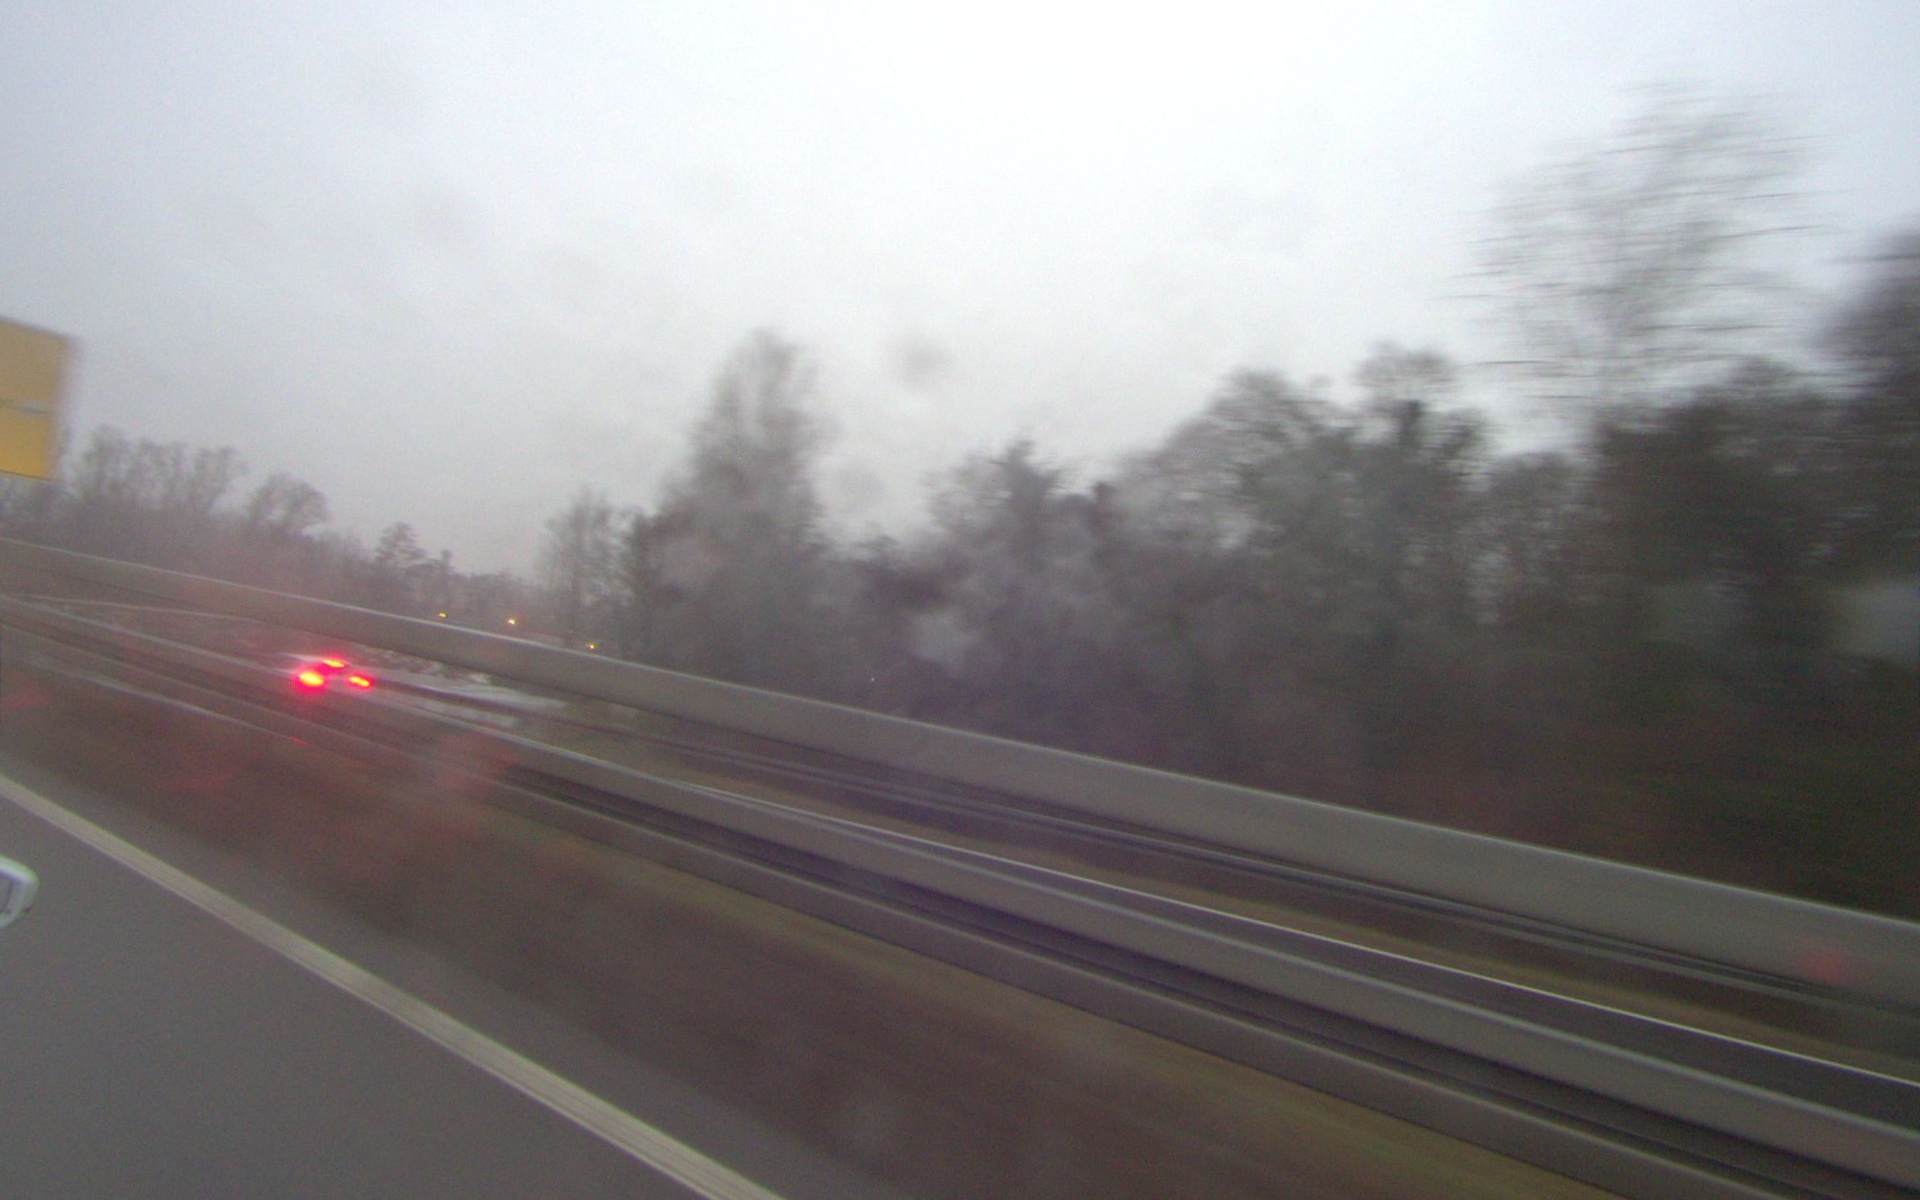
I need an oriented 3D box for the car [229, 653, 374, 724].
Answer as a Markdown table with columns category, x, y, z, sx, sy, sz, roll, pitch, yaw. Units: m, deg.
| category | x | y | z | sx | sy | sz | roll | pitch | yaw |
| --- | --- | --- | --- | --- | --- | --- | --- | --- | --- |
| car | -18.570 | 2.484 | 28.348 | 3.933 | 1.292 | 1.685 | 5 | -9 | 30 |
